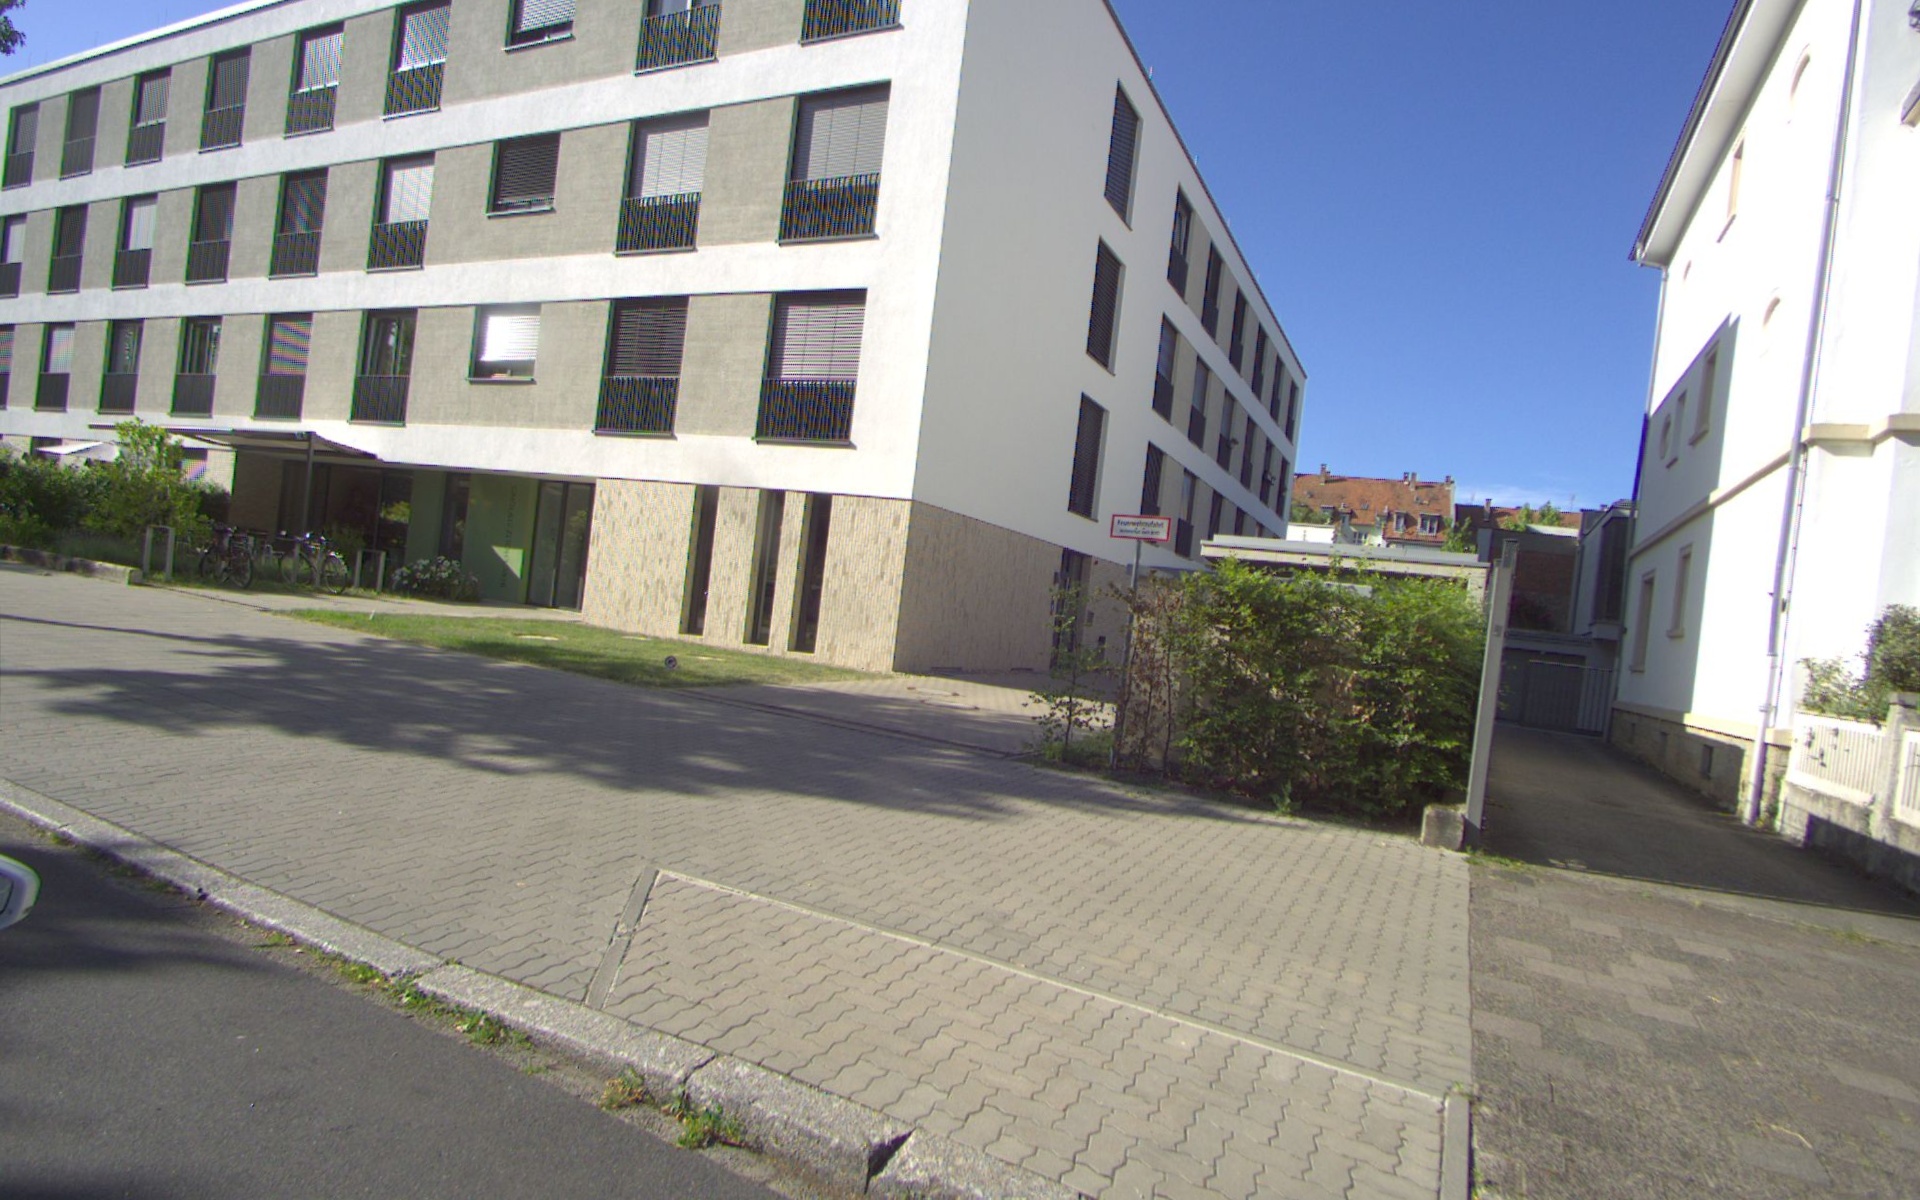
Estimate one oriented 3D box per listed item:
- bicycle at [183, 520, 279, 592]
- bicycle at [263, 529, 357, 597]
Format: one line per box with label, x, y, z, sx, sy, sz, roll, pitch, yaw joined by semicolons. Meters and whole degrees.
bicycle;-12.665;-0.766;17.469;1.661;1.068;0.547;7;2;25
bicycle;-12.087;-0.692;18.706;1.748;1.068;0.547;7;2;25
